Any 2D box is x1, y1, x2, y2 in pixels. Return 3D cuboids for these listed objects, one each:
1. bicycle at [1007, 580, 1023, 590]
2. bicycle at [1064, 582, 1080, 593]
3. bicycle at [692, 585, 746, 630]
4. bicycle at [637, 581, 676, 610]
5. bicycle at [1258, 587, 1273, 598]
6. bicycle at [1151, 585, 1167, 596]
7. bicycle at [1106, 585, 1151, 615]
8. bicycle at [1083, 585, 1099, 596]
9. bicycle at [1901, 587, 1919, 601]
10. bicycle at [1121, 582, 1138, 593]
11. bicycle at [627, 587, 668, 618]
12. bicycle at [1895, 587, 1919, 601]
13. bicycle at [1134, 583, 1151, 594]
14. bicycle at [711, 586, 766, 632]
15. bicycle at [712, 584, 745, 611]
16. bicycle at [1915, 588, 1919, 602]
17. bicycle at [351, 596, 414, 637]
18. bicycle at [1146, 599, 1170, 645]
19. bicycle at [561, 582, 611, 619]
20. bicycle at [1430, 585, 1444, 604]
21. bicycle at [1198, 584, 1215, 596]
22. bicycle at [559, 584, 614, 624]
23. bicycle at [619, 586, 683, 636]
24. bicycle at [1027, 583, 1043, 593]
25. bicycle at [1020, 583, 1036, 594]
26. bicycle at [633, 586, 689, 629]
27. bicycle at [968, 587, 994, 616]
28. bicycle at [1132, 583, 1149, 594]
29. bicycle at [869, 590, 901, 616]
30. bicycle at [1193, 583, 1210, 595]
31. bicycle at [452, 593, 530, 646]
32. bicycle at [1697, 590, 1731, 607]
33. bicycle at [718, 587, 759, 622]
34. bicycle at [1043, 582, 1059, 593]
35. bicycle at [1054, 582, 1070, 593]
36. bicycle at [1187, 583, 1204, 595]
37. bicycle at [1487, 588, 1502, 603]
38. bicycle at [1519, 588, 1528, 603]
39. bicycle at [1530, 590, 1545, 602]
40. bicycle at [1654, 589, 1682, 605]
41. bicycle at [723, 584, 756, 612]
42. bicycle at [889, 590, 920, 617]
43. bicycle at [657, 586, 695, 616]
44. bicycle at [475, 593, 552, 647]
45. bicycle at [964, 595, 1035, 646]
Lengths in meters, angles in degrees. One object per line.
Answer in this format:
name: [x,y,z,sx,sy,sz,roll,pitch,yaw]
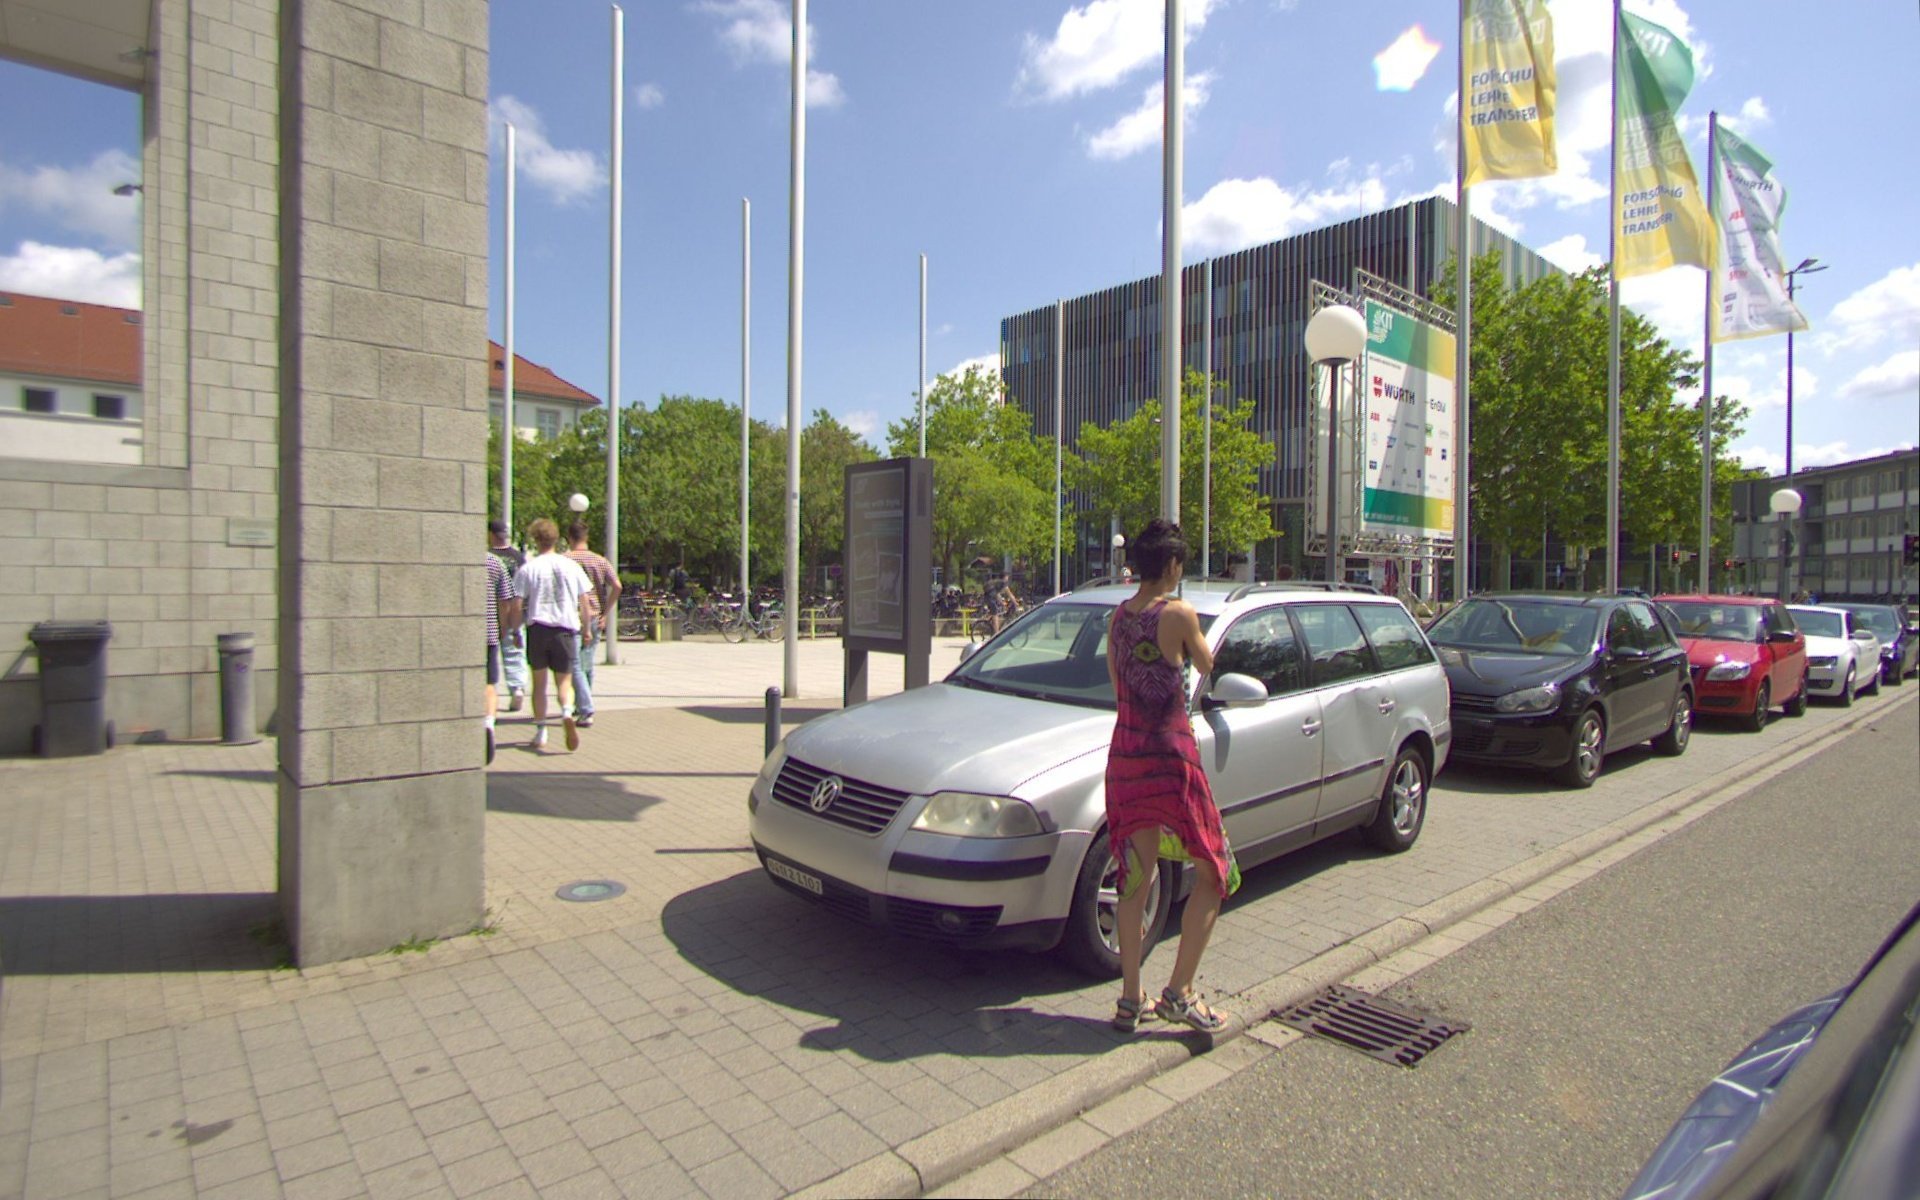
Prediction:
bicycle: [5.605,-1.542,102.719,1.755,0.967,0.432,-3,3,-41]
bicycle: [10.705,-1.201,96.961,1.755,0.967,0.432,-3,3,-41]
bicycle: [-6.533,0.190,27.521,0.596,1.112,1.758,0,2,18]
bicycle: [-12.204,-0.186,40.786,0.596,1.112,1.758,0,2,18]
bicycle: [24.542,-0.599,81.279,1.518,0.785,0.373,-3,2,-38]
bicycle: [17.394,-0.846,88.421,1.515,0.967,0.374,-2,2,-26]
bicycle: [7.174,-0.036,43.120,0.784,1.197,2.034,-1,2,-30]
bicycle: [12.278,-0.921,94.986,1.755,0.967,0.432,-3,3,-41]
bicycle: [67.771,-0.417,71.487,1.752,0.967,0.525,1,3,22]
bicycle: [15.319,-1.111,91.392,1.515,0.967,0.374,-2,2,-26]
bicycle: [-11.939,0.081,38.674,0.596,1.112,1.758,0,2,18]
bicycle: [68.208,-0.416,72.441,1.752,0.967,0.525,1,3,22]
bicycle: [16.242,-1.004,90.063,1.515,0.967,0.374,-2,2,-26]
bicycle: [-5.820,0.207,26.696,0.596,1.112,1.758,0,2,18]
bicycle: [-10.288,-0.139,45.018,0.585,1.112,1.758,0,2,18]
bicycle: [67.532,-0.355,70.186,1.754,0.967,0.525,1,3,24]
bicycle: [-12.130,0.335,21.235,1.758,0.802,0.513,2,1,37]
bicycle: [5.286,0.571,27.061,0.598,1.152,1.583,1,0,11]
bicycle: [-12.314,-0.003,33.372,0.596,1.112,1.758,0,2,18]
bicycle: [32.991,-0.385,69.985,1.521,1.201,0.373,-3,4,-43]
bicycle: [20.681,-0.813,84.884,1.515,0.967,0.374,-2,2,-26]
bicycle: [-11.391,0.110,30.934,0.596,1.112,1.758,0,2,18]
bicycle: [-7.604,0.246,24.955,0.596,1.112,1.758,0,2,18]
bicycle: [7.474,-1.178,100.548,1.755,0.967,0.432,-3,3,-41]
bicycle: [6.819,-1.158,101.264,1.755,0.967,0.432,-3,3,-41]
bicycle: [-8.400,0.192,28.490,0.596,1.112,1.758,0,2,18]
bicycle: [0.901,0.050,43.038,0.596,1.112,1.758,0,2,18]
bicycle: [16.123,-1.016,90.474,1.515,0.967,0.374,-2,2,-26]
bicycle: [-2.847,0.116,38.649,0.596,0.966,1.757,0,1,18]
bicycle: [20.346,-0.903,85.369,1.515,0.967,0.374,-2,2,-26]
bicycle: [-10.911,0.432,23.588,0.596,1.112,1.758,0,2,18]
bicycle: [43.832,-0.097,58.852,0.518,0.967,1.775,0,2,-3]
bicycle: [-7.750,0.146,35.439,0.596,1.112,1.758,0,2,18]
bicycle: [8.851,-1.202,98.774,1.755,0.967,0.432,-3,3,-41]
bicycle: [9.813,-1.182,97.668,1.755,0.967,0.432,-3,3,-41]
bicycle: [20.005,-0.912,85.959,1.515,0.967,0.374,-2,2,-26]
bicycle: [36.698,-0.289,69.511,0.367,0.967,1.769,0,2,10]
bicycle: [38.372,-0.339,68.896,0.524,0.967,1.756,1,2,29]
bicycle: [39.109,-0.258,68.568,0.522,0.773,1.764,0,2,17]
bicycle: [46.761,-0.212,66.855,0.518,0.967,1.775,0,2,-3]
bicycle: [-9.474,-0.085,43.541,0.596,1.112,1.758,0,2,18]
bicycle: [-2.096,0.117,38.384,0.596,0.966,1.757,0,1,18]
bicycle: [-11.329,0.033,40.432,0.596,1.112,1.758,0,2,18]
bicycle: [-10.257,0.435,23.296,0.596,1.112,1.758,0,2,18]
bicycle: [0.953,0.490,24.203,1.663,1.152,0.681,1,0,-41]
